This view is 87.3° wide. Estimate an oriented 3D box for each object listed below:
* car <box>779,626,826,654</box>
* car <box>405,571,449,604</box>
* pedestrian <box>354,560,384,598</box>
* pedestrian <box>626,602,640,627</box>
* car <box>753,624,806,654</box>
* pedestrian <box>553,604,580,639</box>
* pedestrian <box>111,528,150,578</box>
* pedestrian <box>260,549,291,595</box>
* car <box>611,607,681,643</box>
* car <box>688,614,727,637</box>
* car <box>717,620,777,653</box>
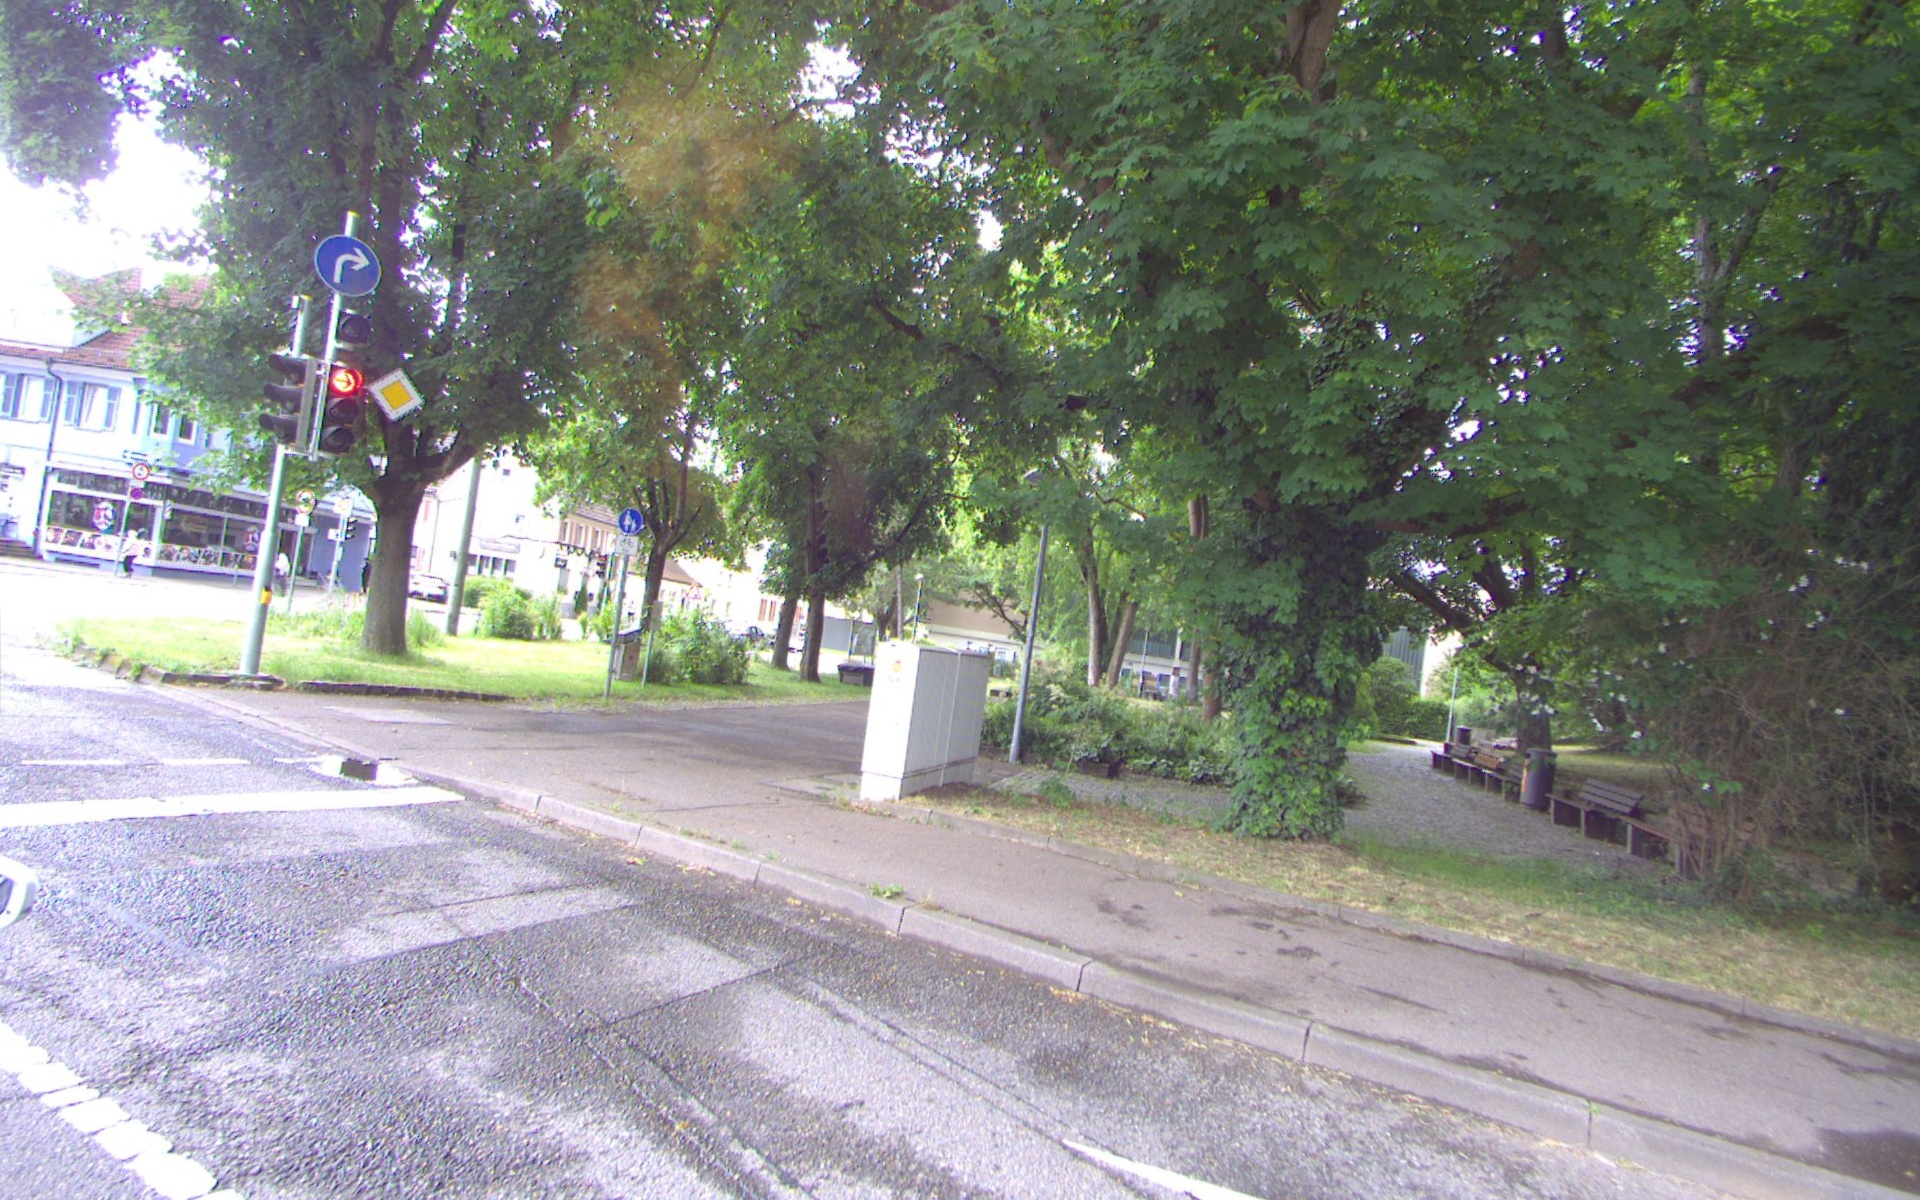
[{"bbox_3d":[-10.274,2.654,66.040,1.618,1.474,3.740,7,-2,13],"label":"car"},{"bbox_3d":[-28.174,-0.691,53.162,1.870,1.406,3.589,9,-2,-28],"label":"car"},{"bbox_3d":[-26.695,-0.960,45.463,0.732,1.578,0.673,6,-1,17],"label":"pedestrian"},{"bbox_3d":[-21.405,0.969,65.850,0.500,1.578,0.505,6,-1,17],"label":"pedestrian"},{"bbox_3d":[-10.700,2.337,59.909,1.618,1.474,3.740,7,-2,13],"label":"car"},{"bbox_3d":[-12.955,0.707,33.128,0.506,1.093,0.507,6,-1,17],"label":"pedestrian"},{"bbox_3d":[-28.245,-1.578,34.266,0.725,1.578,0.763,7,-1,-27],"label":"pedestrian"},{"bbox_3d":[-24.811,-1.019,36.475,0.688,1.578,0.662,7,-1,-27],"label":"pedestrian"},{"bbox_3d":[-13.708,1.139,44.074,1.436,1.282,3.014,7,-2,13],"label":"car"},{"bbox_3d":[-18.991,1.924,75.810,1.736,1.463,3.865,7,-2,2],"label":"car"},{"bbox_3d":[-11.562,2.013,54.935,1.618,1.474,3.740,7,-2,13],"label":"car"}]
